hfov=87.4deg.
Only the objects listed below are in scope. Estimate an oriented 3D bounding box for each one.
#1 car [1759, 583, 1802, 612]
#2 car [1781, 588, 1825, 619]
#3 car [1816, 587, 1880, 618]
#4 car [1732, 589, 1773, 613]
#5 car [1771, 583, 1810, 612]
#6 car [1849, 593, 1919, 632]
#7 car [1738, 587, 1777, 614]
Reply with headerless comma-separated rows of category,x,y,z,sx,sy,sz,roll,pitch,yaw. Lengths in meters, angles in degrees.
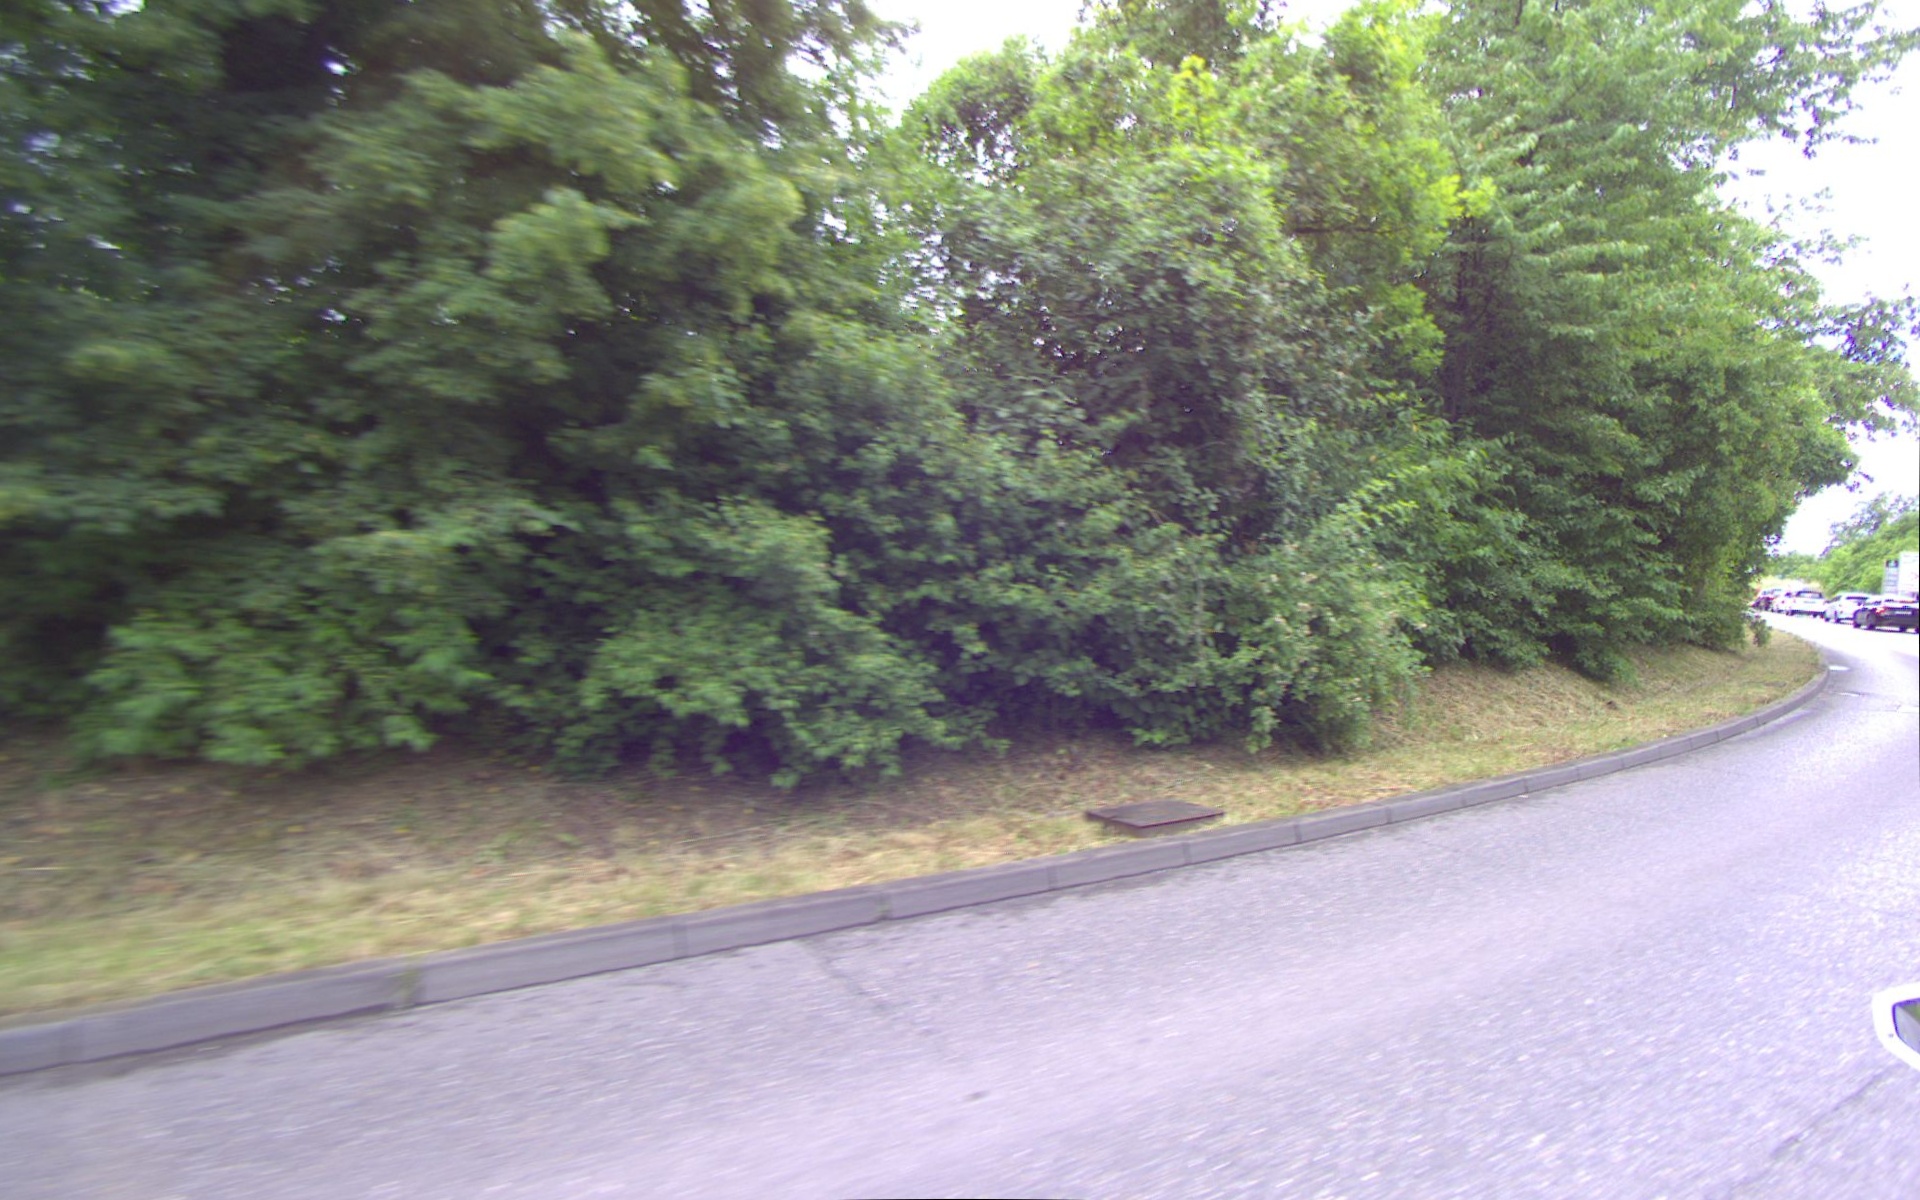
car,56.423,-0.152,69.124,1.967,1.806,3.988,0,-2,35
car,49.319,0.206,58.819,1.749,1.655,3.877,2,0,37
car,43.882,0.106,49.722,1.814,1.406,3.988,2,2,34
car,64.025,0.085,81.181,1.964,1.806,3.992,4,1,30
car,53.739,-0.146,65.020,1.749,1.655,3.877,2,-1,37
car,38.933,0.484,42.227,1.815,1.406,3.986,2,4,35
car,60.473,0.044,76.225,1.967,1.806,3.989,3,-1,35
